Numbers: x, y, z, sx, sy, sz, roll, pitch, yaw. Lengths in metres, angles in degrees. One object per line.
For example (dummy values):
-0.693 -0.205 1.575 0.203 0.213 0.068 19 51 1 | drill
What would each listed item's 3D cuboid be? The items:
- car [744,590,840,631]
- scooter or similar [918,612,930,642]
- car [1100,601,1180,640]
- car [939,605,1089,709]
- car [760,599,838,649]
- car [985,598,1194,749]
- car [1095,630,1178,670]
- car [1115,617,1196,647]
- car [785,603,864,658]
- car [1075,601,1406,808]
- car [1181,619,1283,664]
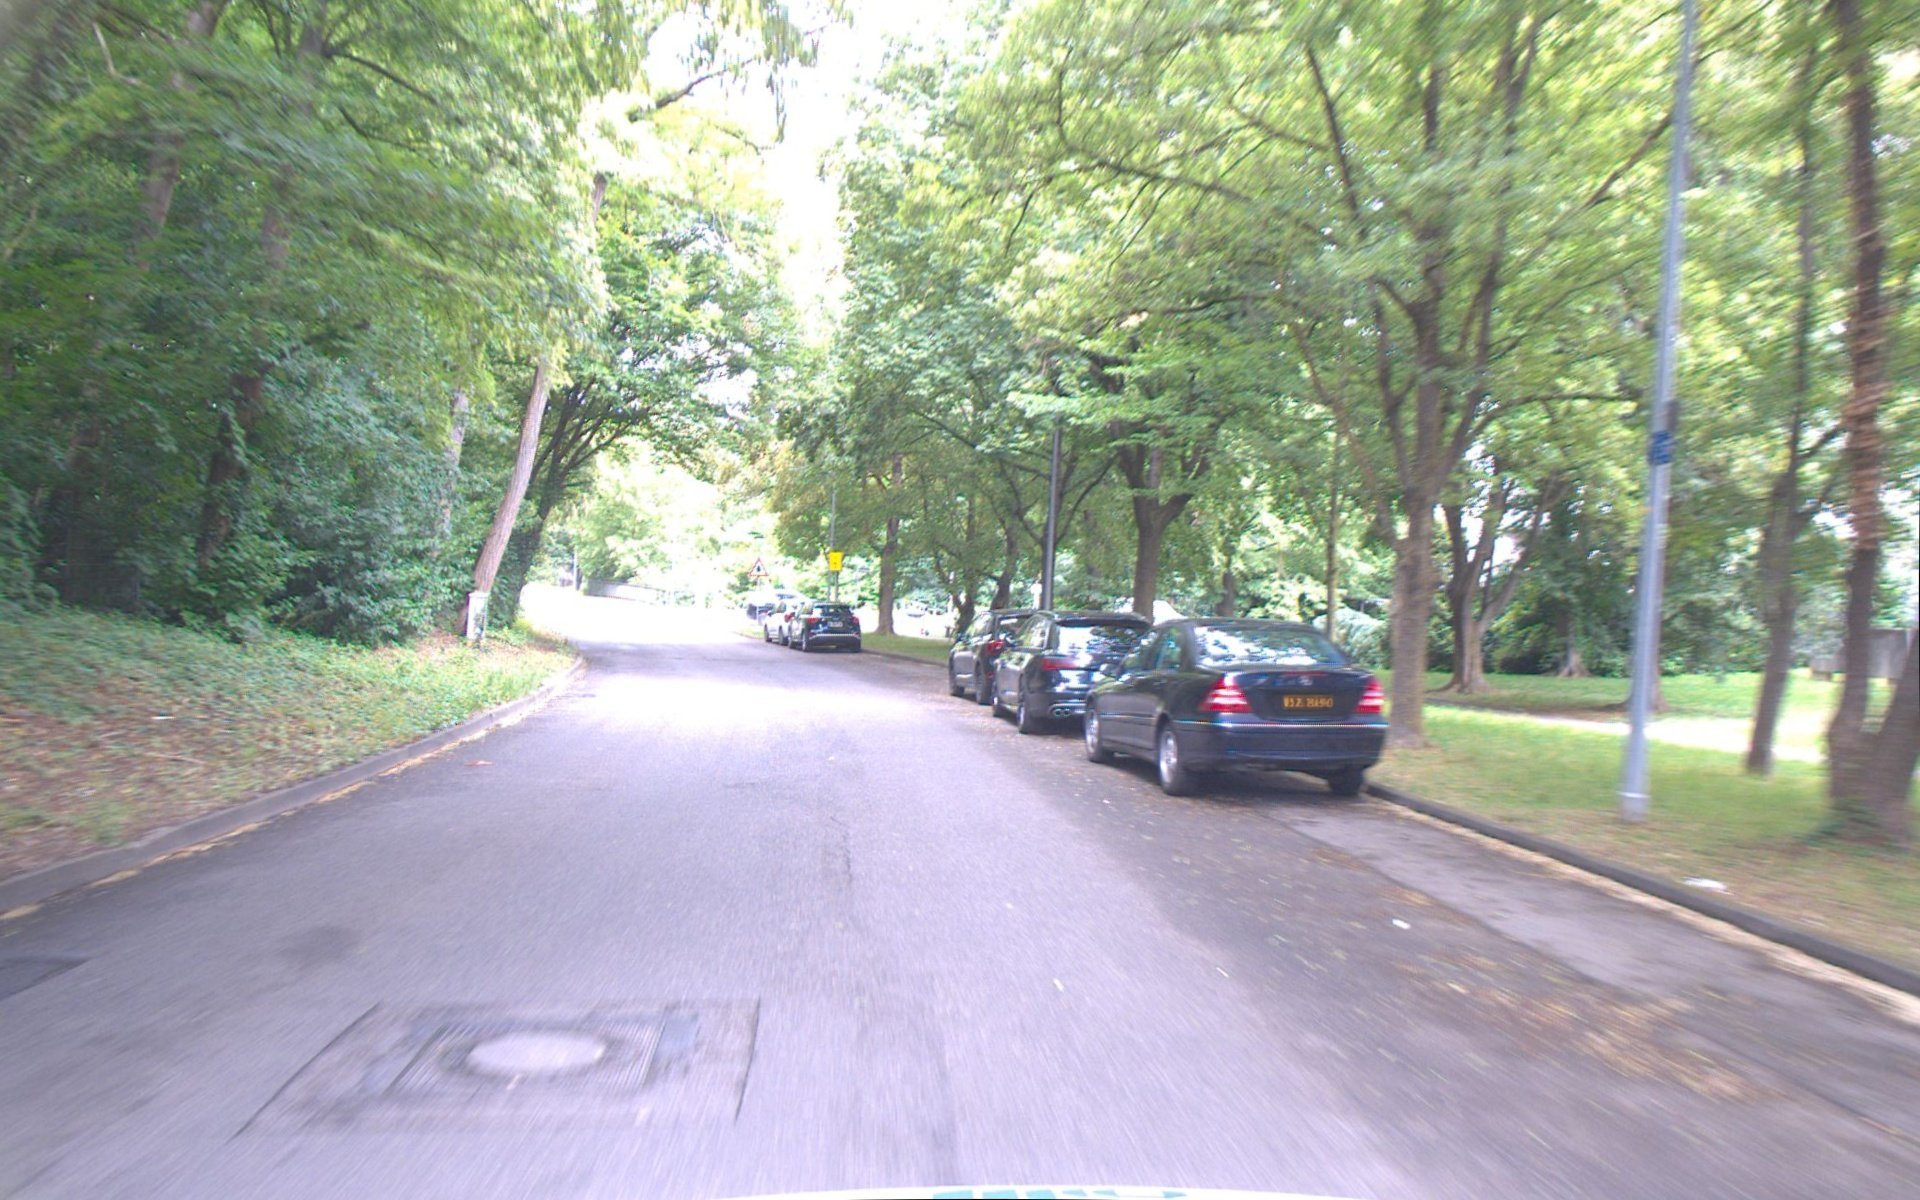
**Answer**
-7.788 0.481 76.582 4.151 1.715 1.792 2 0 -15 | car
-1.613 1.214 73.664 0.278 1.309 1.104 2 0 -14 | scooter or similar
10.331 1.179 95.150 4.131 2.049 1.994 2 0 -12 | car
0.793 0.866 26.769 1.651 1.490 3.889 2 0 -10 | car
-5.456 0.782 55.679 1.747 1.549 3.759 2 0 -19 | car
1.493 0.828 20.897 1.876 1.640 4.730 2 0 -5 | car
8.006 2.268 75.262 3.447 1.597 1.831 2 0 -4 | car
10.906 1.770 92.204 4.131 1.525 1.795 2 0 -12 | car
-4.260 0.925 51.445 1.744 1.549 4.168 2 0 -14 | car
2.277 0.800 14.614 1.560 1.491 4.307 2 0 -9 | car
12.621 1.919 76.862 4.313 1.881 1.829 2 0 -8 | car
